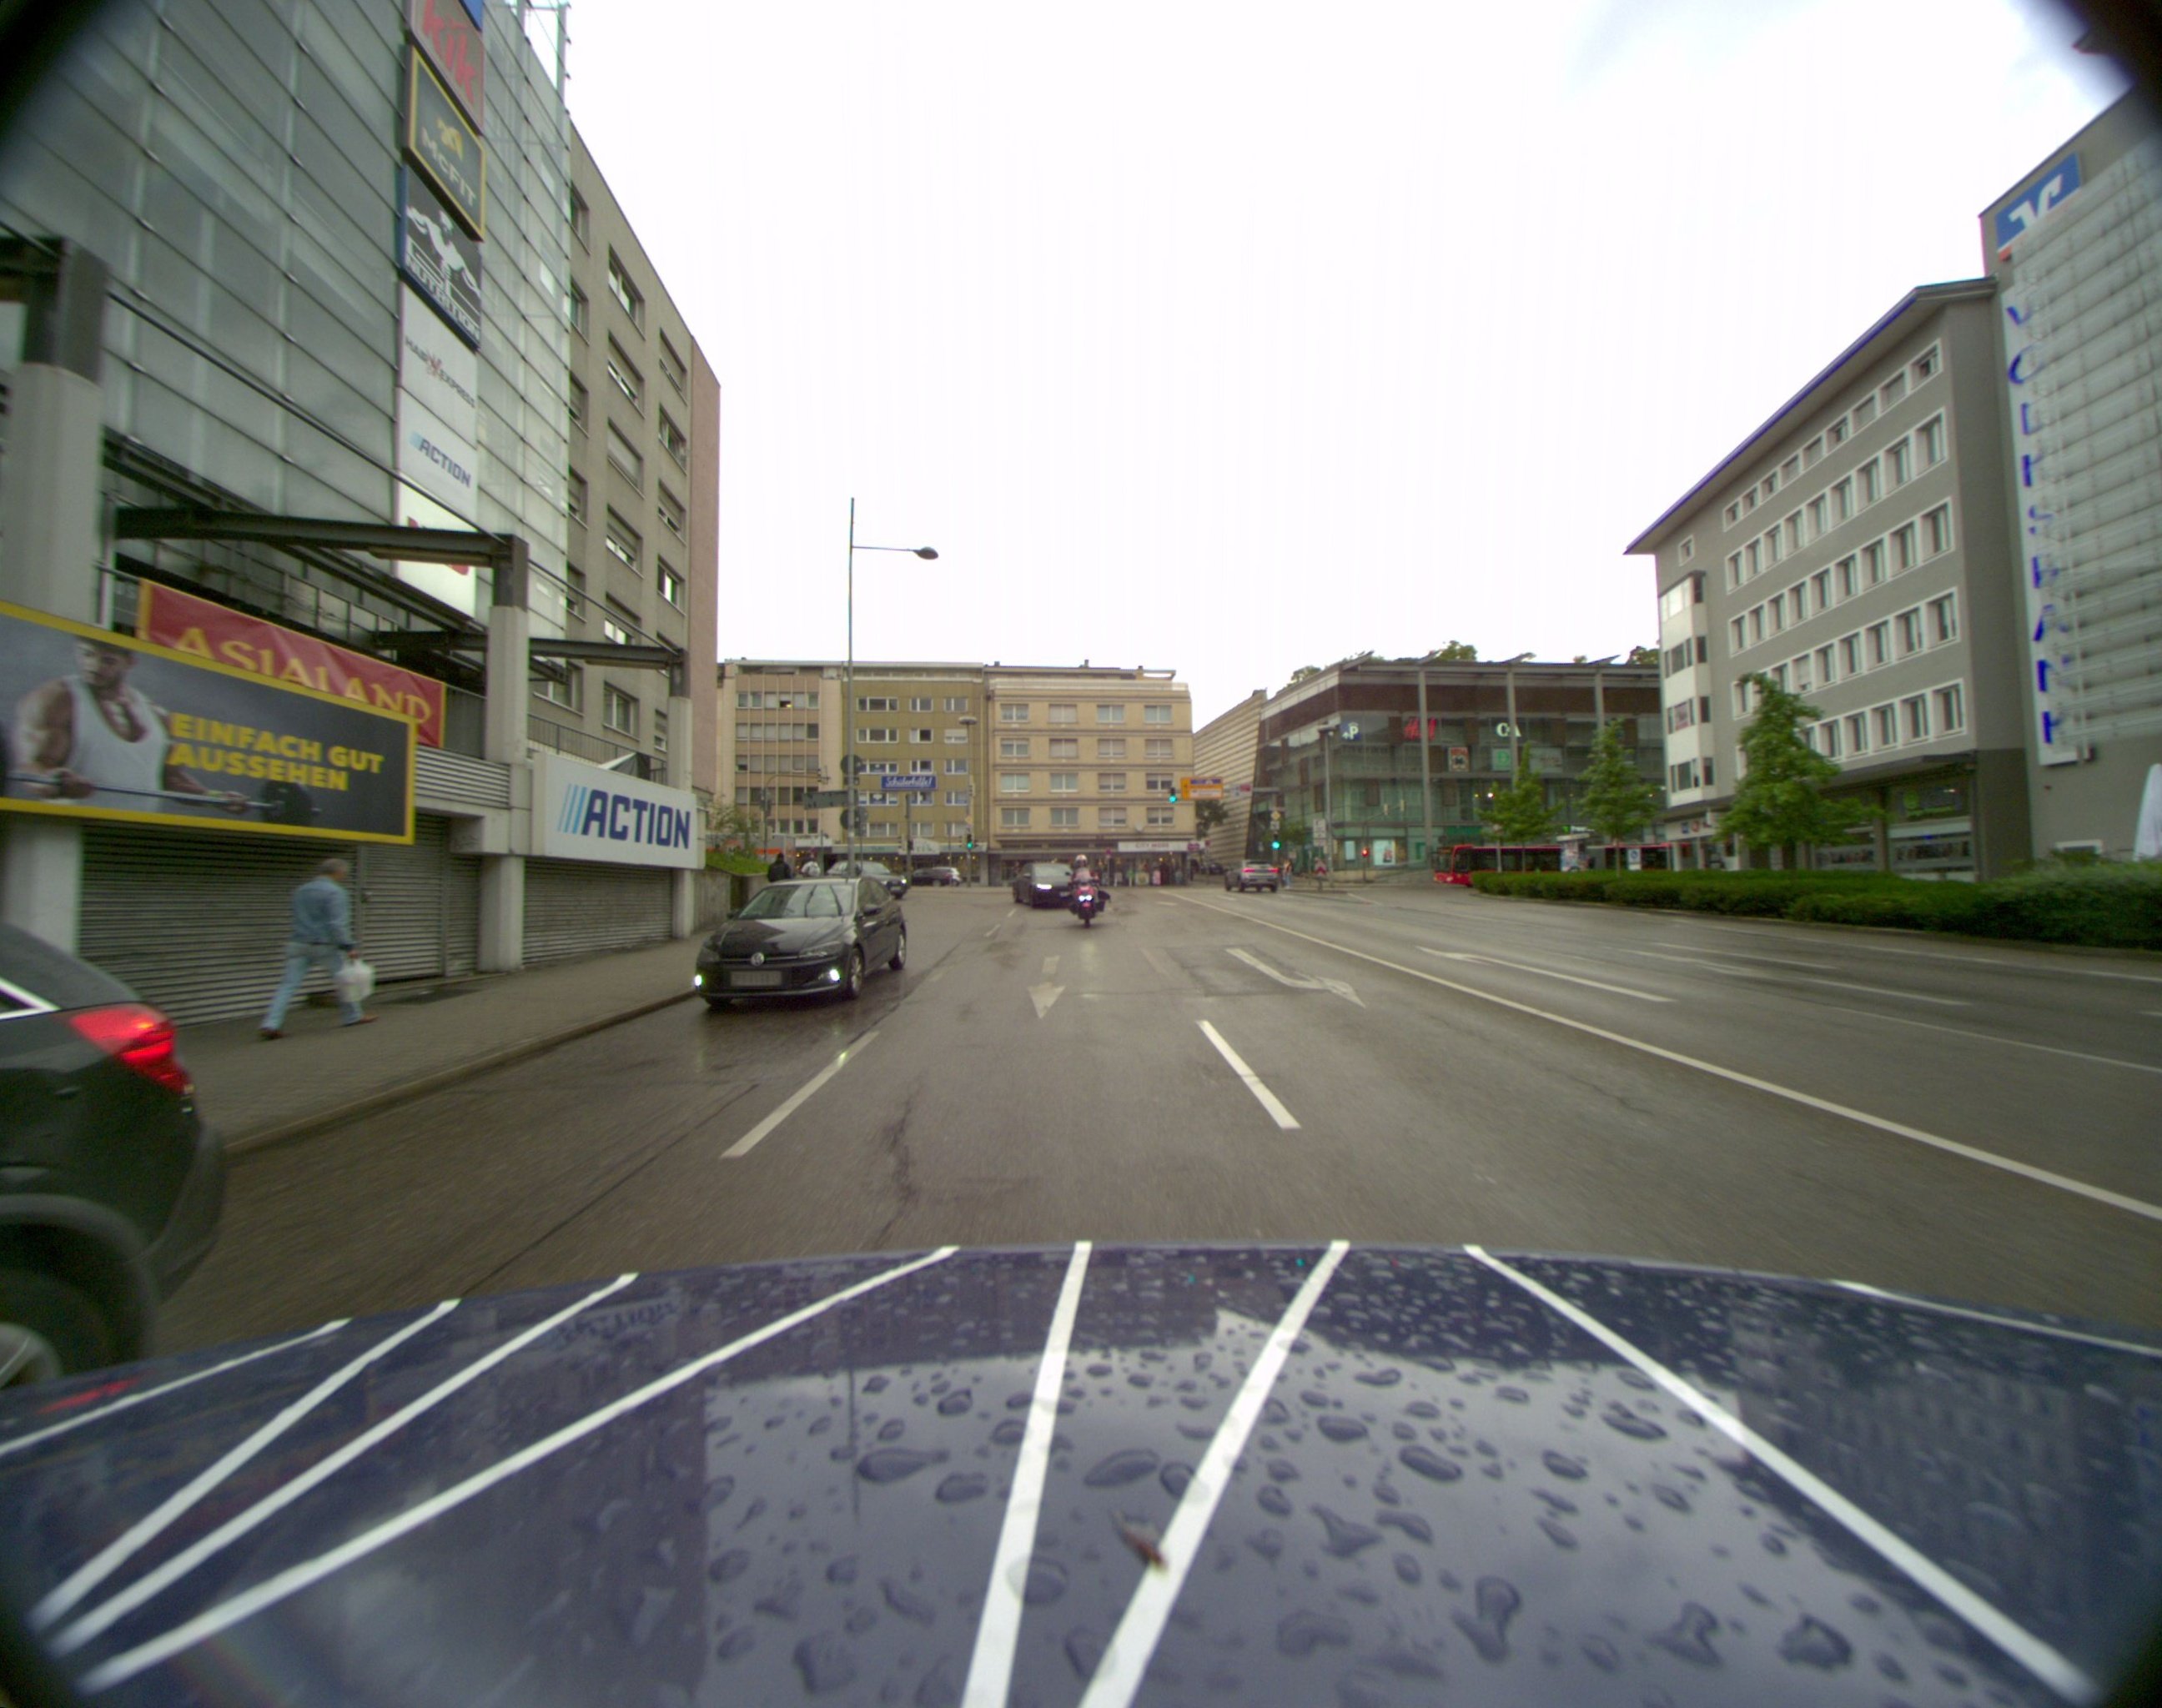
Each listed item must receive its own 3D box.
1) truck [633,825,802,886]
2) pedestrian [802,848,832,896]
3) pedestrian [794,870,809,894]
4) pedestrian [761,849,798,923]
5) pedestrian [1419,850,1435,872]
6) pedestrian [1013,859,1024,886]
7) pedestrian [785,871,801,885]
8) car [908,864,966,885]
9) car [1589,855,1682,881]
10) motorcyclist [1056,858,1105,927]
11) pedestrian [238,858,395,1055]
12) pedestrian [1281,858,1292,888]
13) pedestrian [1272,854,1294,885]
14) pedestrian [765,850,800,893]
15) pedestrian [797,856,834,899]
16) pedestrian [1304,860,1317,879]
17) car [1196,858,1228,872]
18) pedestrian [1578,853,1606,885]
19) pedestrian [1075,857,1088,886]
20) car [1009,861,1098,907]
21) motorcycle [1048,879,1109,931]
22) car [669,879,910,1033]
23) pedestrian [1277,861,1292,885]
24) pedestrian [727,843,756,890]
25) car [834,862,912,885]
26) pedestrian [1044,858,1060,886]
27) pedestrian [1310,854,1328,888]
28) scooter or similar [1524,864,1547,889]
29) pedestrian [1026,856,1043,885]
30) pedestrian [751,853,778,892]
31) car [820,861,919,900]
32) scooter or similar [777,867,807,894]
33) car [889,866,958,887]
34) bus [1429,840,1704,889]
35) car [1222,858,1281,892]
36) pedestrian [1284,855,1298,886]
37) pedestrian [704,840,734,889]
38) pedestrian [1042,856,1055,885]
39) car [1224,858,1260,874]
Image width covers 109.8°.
[{"bbox_3d":[-26.427,0.182,55.752,10.771,4.307,2.854,0,-1,-8],"label":"truck"},{"bbox_3d":[-10.754,0.725,30.934,0.785,1.855,0.619,4,-4,11],"label":"pedestrian"},{"bbox_3d":[-11.550,1.149,31.384,0.471,0.993,0.262,0,-6,18],"label":"pedestrian"},{"bbox_3d":[-7.626,0.810,19.247,0.601,1.829,1.012,0,-1,-5],"label":"pedestrian"},{"bbox_3d":[31.126,0.611,68.355,0.974,1.968,0.883,0,-1,-5],"label":"pedestrian"},{"bbox_3d":[-3.491,1.020,42.593,0.560,1.479,0.707,1,0,0],"label":"pedestrian"},{"bbox_3d":[-12.015,0.992,31.711,0.457,0.567,0.373,0,-4,14],"label":"pedestrian"},{"bbox_3d":[-11.533,1.642,61.185,4.399,1.541,1.852,-1,0,-6],"label":"car"},{"bbox_3d":[44.040,1.103,60.399,5.907,2.063,2.451,0,0,-6],"label":"car"},{"bbox_3d":[-0.002,0.896,18.054,1.092,1.595,0.954,0,-1,3],"label":"motorcyclist"},{"bbox_3d":[-6.975,0.897,6.959,0.837,1.712,0.618,0,0,6],"label":"pedestrian"},{"bbox_3d":[11.408,1.032,42.170,0.501,1.658,0.571,0,-1,2],"label":"pedestrian"},{"bbox_3d":[11.720,0.902,44.122,0.853,1.777,1.012,0,0,-11],"label":"pedestrian"},{"bbox_3d":[-12.201,0.723,31.104,0.837,1.711,1.040,0,-3,12],"label":"pedestrian"},{"bbox_3d":[-10.011,0.879,28.647,1.061,1.522,1.024,3,-1,-32],"label":"pedestrian"},{"bbox_3d":[21.361,1.439,70.773,0.696,1.751,1.048,1,-2,-16],"label":"pedestrian"},{"bbox_3d":[14.919,1.221,86.632,1.899,1.537,4.375,-2,1,-15],"label":"car"},{"bbox_3d":[28.771,0.840,42.757,0.800,1.765,1.024,1,0,-11],"label":"pedestrian"},{"bbox_3d":[0.024,1.010,44.304,0.693,1.682,0.759,1,0,0],"label":"pedestrian"},{"bbox_3d":[-1.072,1.032,26.648,2.001,1.482,4.729,1,-2,-17],"label":"car"},{"bbox_3d":[-0.012,1.181,18.133,1.312,1.128,2.186,0,-2,3],"label":"motorcycle"},{"bbox_3d":[-3.491,1.132,9.916,1.742,1.422,3.879,-2,0,-3],"label":"car"},{"bbox_3d":[11.445,1.066,42.717,0.588,1.331,0.631,0,0,-11],"label":"pedestrian"},{"bbox_3d":[-13.907,0.522,31.140,0.658,1.852,0.839,4,-5,0],"label":"pedestrian"},{"bbox_3d":[-13.425,1.263,49.231,4.630,1.407,1.798,0,-2,-6],"label":"car"},{"bbox_3d":[-1.603,0.989,42.195,0.854,1.559,0.715,1,0,0],"label":"pedestrian"},{"bbox_3d":[12.689,0.887,40.483,0.618,1.768,0.831,0,0,-11],"label":"pedestrian"},{"bbox_3d":[21.415,1.077,35.790,0.543,1.179,1.386,0,-2,15],"label":"scooter or similar"},{"bbox_3d":[-2.642,0.941,43.192,0.914,1.662,0.981,0,0,1],"label":"pedestrian"},{"bbox_3d":[-13.854,0.817,33.281,0.838,1.626,0.541,4,-5,-5],"label":"pedestrian"},{"bbox_3d":[-8.999,1.086,32.247,4.092,1.538,1.877,-1,-1,36],"label":"car"},{"bbox_3d":[-12.048,1.116,31.697,0.654,1.102,0.975,0,-4,14],"label":"scooter or similar"},{"bbox_3d":[-11.457,1.610,55.504,4.631,1.417,1.999,-1,1,-1],"label":"car"},{"bbox_3d":[34.728,0.797,54.648,18.470,3.300,2.929,0,-1,-3],"label":"bus"},{"bbox_3d":[8.204,0.974,36.837,1.846,1.543,4.093,1,0,-1],"label":"car"},{"bbox_3d":[11.464,0.888,41.483,0.638,1.679,0.784,0,0,4],"label":"pedestrian"},{"bbox_3d":[-14.654,0.436,30.793,0.731,1.919,0.821,1,-3,3],"label":"pedestrian"},{"bbox_3d":[-1.911,0.952,44.870,0.706,1.701,0.786,1,0,0],"label":"pedestrian"},{"bbox_3d":[16.784,1.238,79.631,1.899,1.537,4.375,-2,1,-15],"label":"car"}]
